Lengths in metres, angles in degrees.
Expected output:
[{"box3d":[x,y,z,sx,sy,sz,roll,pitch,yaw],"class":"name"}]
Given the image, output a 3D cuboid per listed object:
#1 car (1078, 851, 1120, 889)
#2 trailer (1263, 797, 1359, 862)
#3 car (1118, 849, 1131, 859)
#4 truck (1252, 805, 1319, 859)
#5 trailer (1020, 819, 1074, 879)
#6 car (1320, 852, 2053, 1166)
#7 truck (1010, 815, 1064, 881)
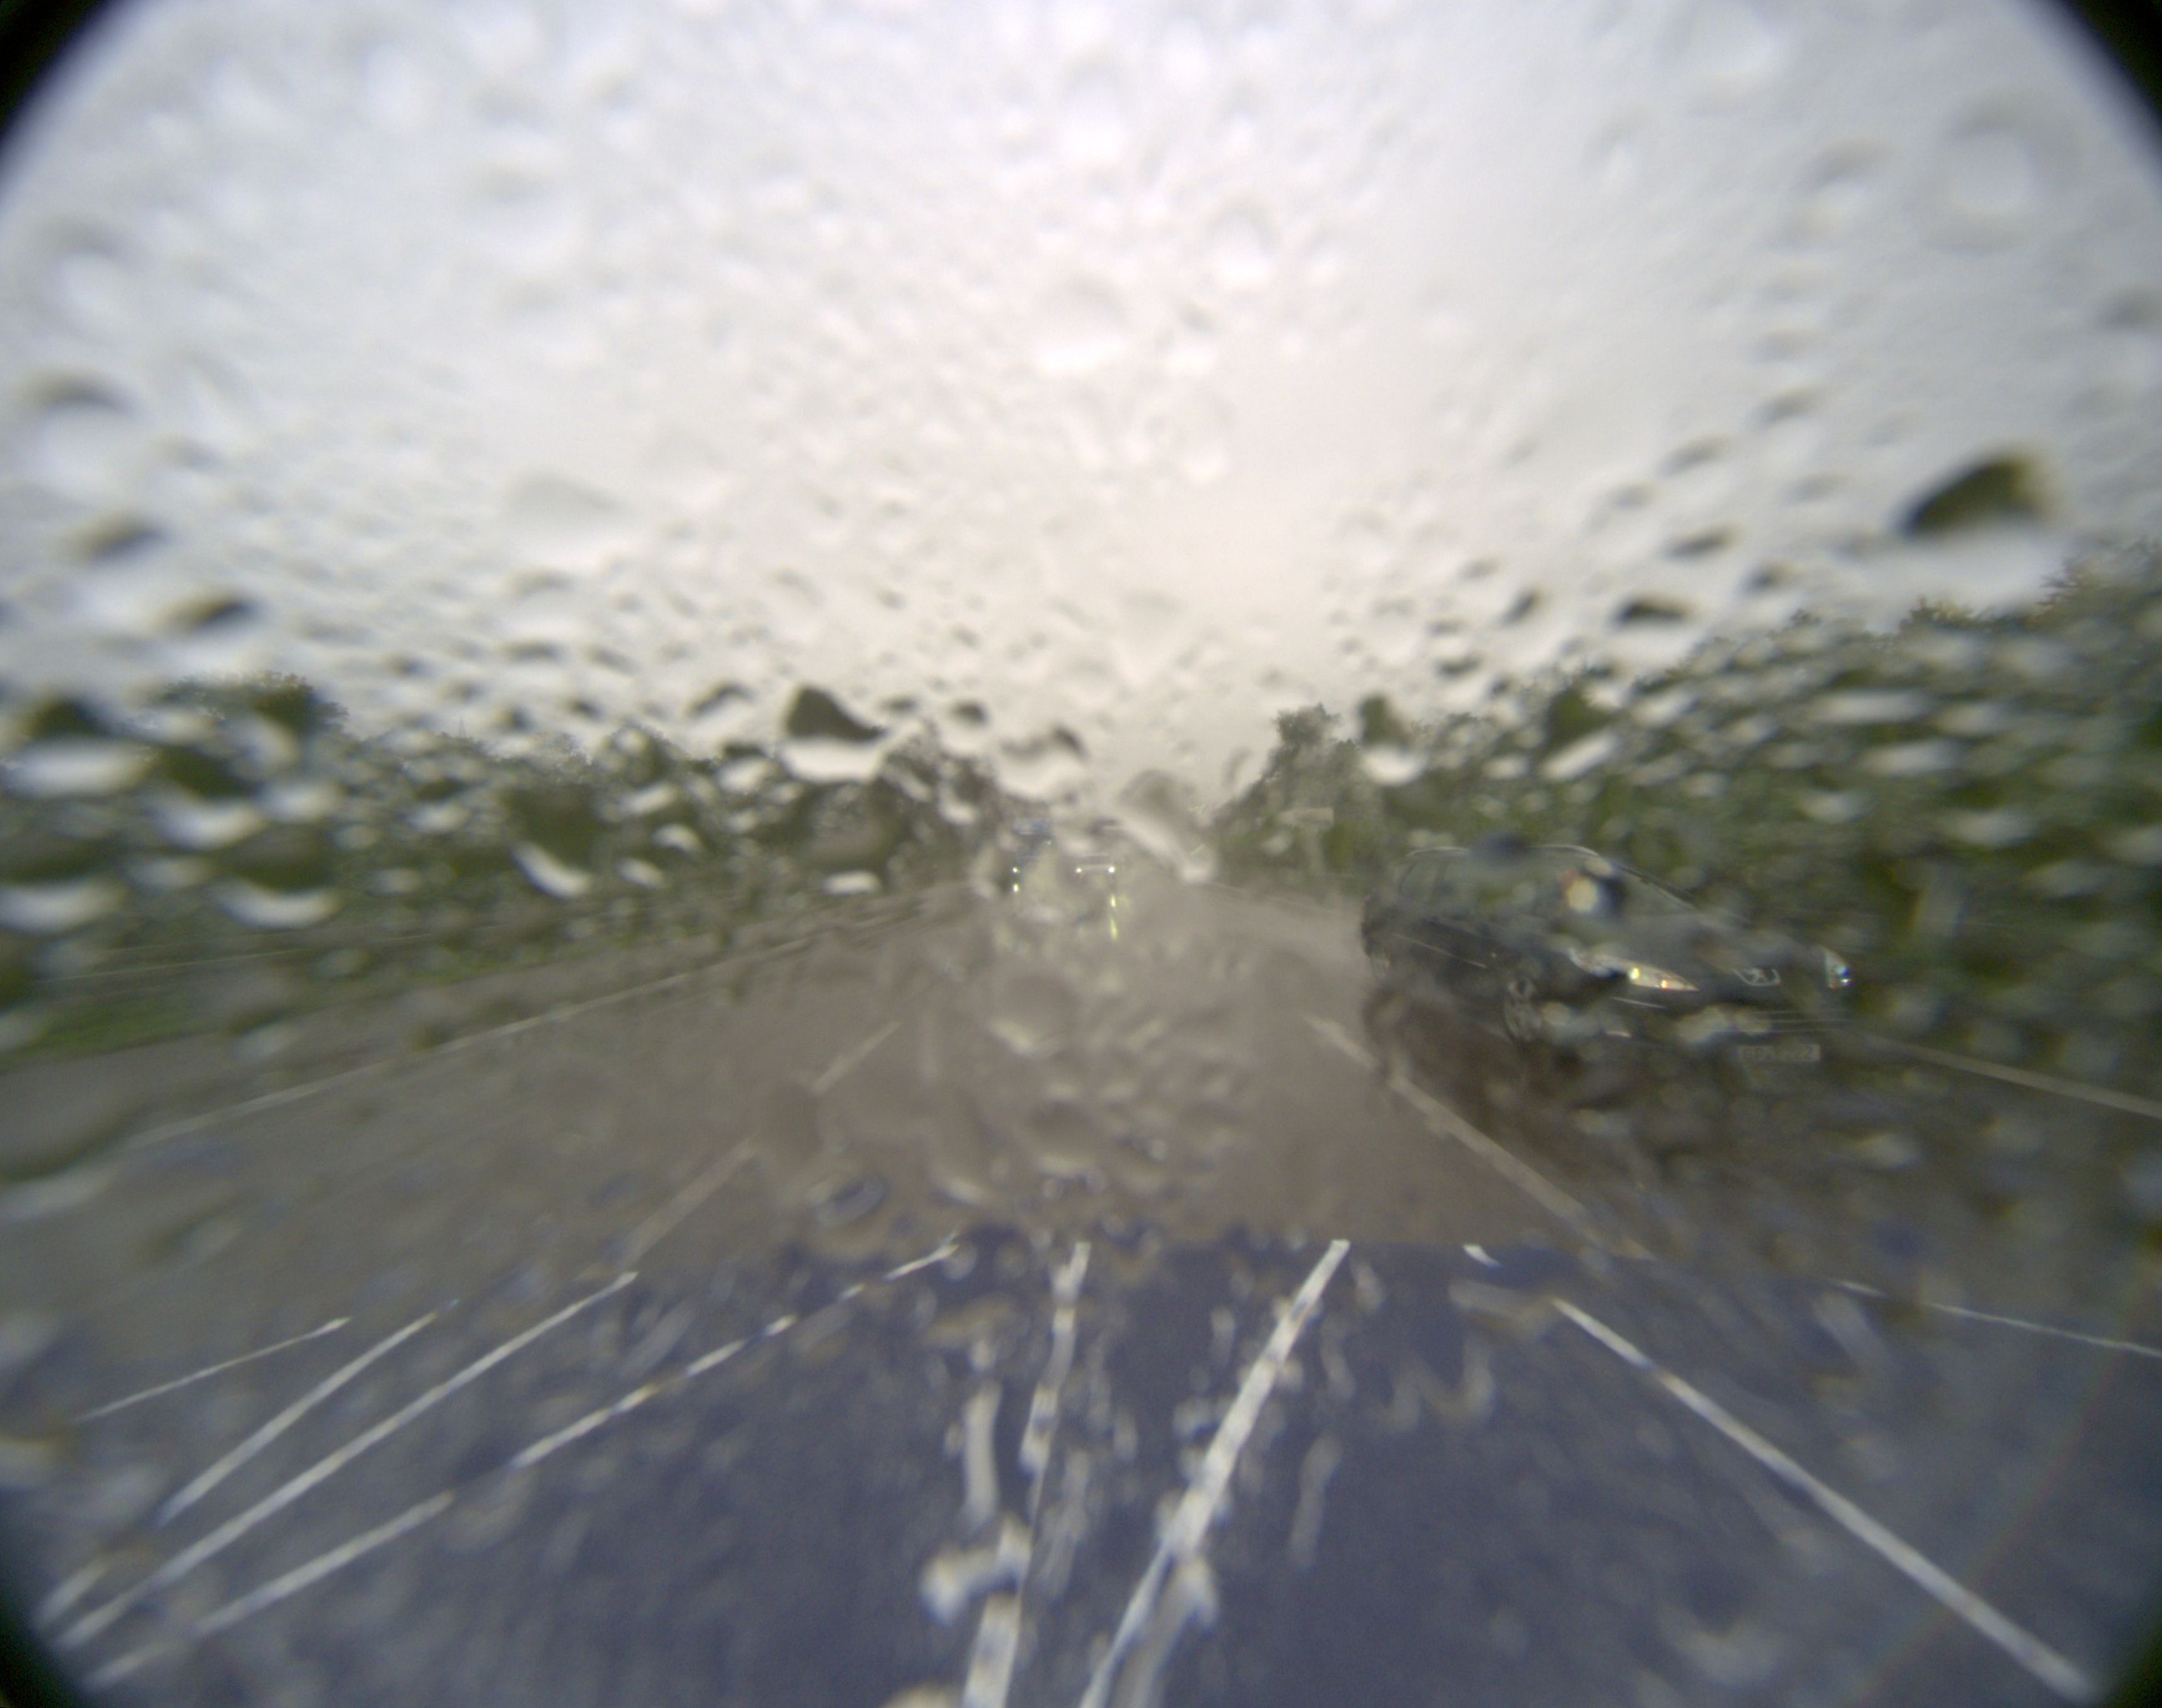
[{"box3d":[0.876,0.691,35.018,1.751,1.545,4.091,-2,0,3],"class":"car"},{"box3d":[18.763,-1.865,63.592,3.878,4.668,15.026,-2,1,2],"class":"trailer"},{"box3d":[6.914,-0.033,121.634,1.900,1.533,4.090,-2,0,2],"class":"car"},{"box3d":[19.022,-1.949,71.434,3.845,4.612,9.408,-2,0,2],"class":"truck"},{"box3d":[-2.382,-0.373,58.576,2.750,3.941,14.131,-2,0,3],"class":"trailer"},{"box3d":[3.844,0.774,6.380,2.059,1.477,5.157,-2,1,1],"class":"car"},{"box3d":[-2.789,-0.406,50.250,2.755,4.055,6.483,-2,1,3],"class":"truck"}]
